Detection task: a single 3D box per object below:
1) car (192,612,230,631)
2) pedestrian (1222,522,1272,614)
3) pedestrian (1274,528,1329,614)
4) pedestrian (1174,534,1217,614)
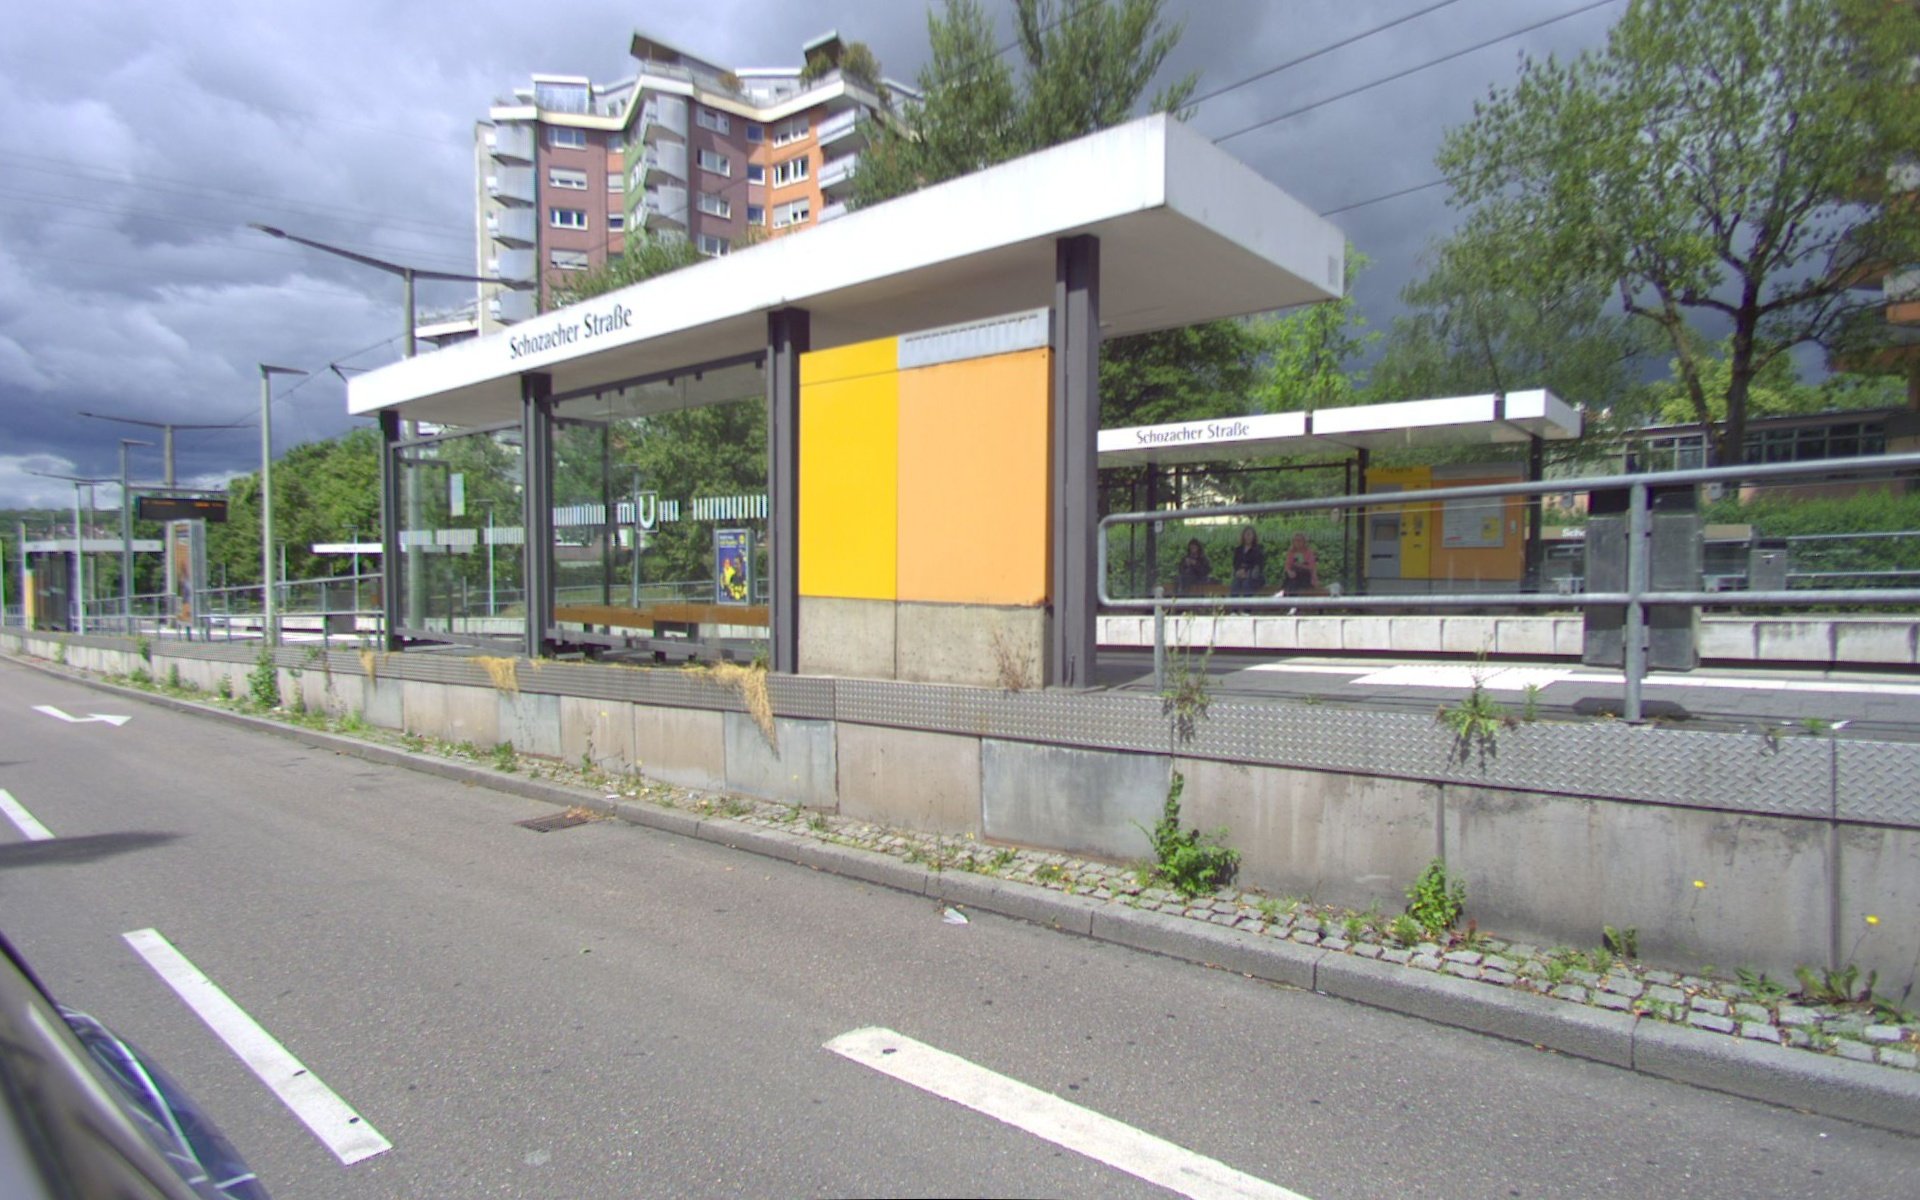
[{"bbox_3d":[-58.747,1.707,79.331,3.999,1.429,1.637,-1,0,42],"label":"car"},{"bbox_3d":[4.431,-0.478,15.601,0.506,1.379,0.637,-1,-1,41],"label":"pedestrian"},{"bbox_3d":[5.070,-0.419,15.022,0.517,1.246,0.734,-1,-1,41],"label":"pedestrian"},{"bbox_3d":[3.784,-0.408,16.228,0.541,1.246,0.516,-1,-1,29],"label":"pedestrian"}]
